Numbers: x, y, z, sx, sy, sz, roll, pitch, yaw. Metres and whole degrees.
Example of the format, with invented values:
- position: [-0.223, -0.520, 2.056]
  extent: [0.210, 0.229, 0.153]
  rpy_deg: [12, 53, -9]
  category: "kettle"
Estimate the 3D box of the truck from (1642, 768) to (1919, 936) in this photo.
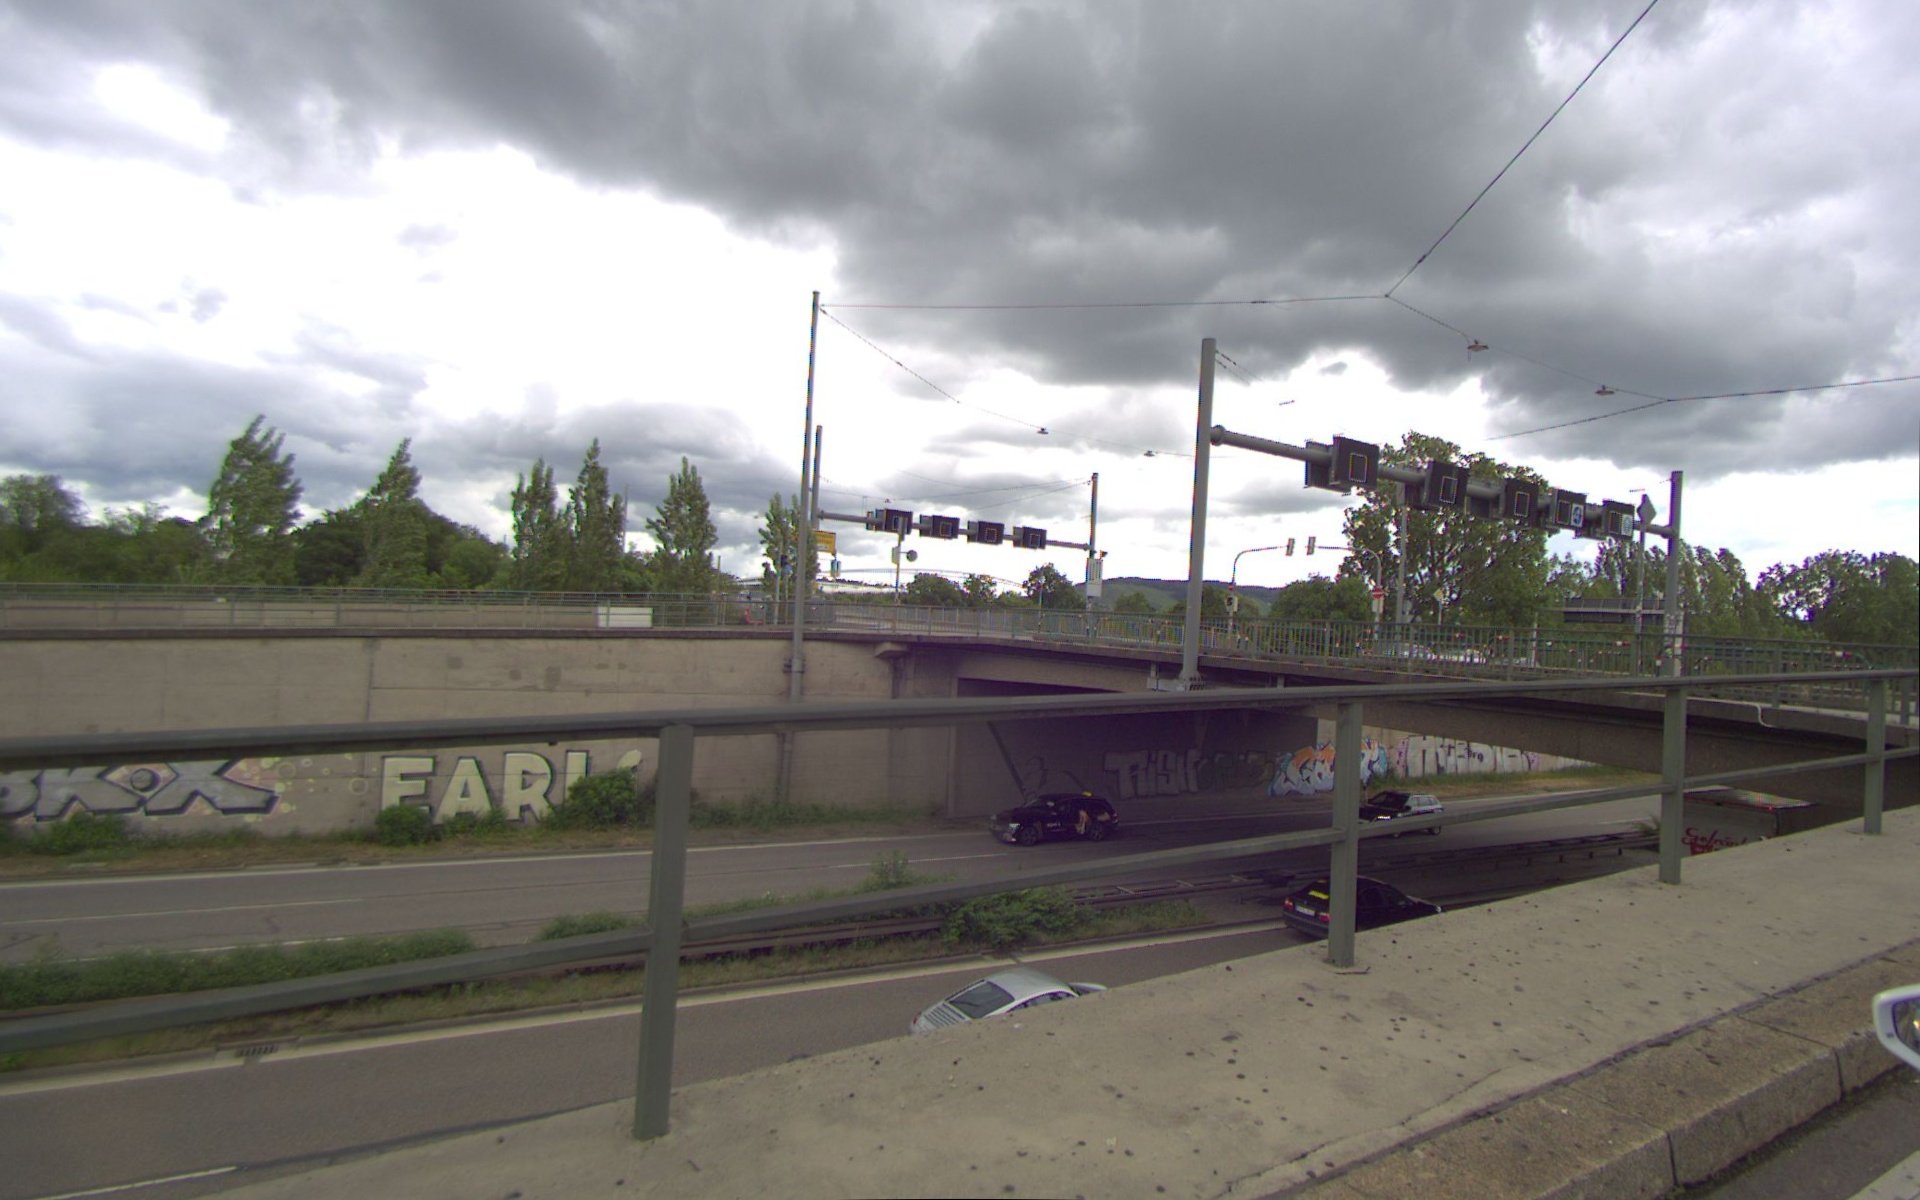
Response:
- position: [23.227, 6.744, 28.123]
  extent: [9.757, 3.570, 2.870]
  rpy_deg: [4, -4, -30]
  category: "truck"

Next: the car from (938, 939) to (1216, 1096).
- position: [1.887, 6.475, 15.921]
  extent: [4.104, 1.318, 1.778]
  rpy_deg: [5, -4, -29]
  category: "car"

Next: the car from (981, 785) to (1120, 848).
- position: [3.188, 7.483, 34.968]
  extent: [4.581, 1.673, 1.851]
  rpy_deg: [5, -3, -30]
  category: "car"

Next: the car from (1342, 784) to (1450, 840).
- position: [17.342, 8.361, 39.923]
  extent: [4.134, 1.741, 1.873]
  rpy_deg: [4, -3, -30]
  category: "car"

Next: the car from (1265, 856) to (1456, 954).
- position: [9.579, 7.180, 23.978]
  extent: [4.372, 1.484, 1.850]
  rpy_deg: [5, -2, -29]
  category: "car"
